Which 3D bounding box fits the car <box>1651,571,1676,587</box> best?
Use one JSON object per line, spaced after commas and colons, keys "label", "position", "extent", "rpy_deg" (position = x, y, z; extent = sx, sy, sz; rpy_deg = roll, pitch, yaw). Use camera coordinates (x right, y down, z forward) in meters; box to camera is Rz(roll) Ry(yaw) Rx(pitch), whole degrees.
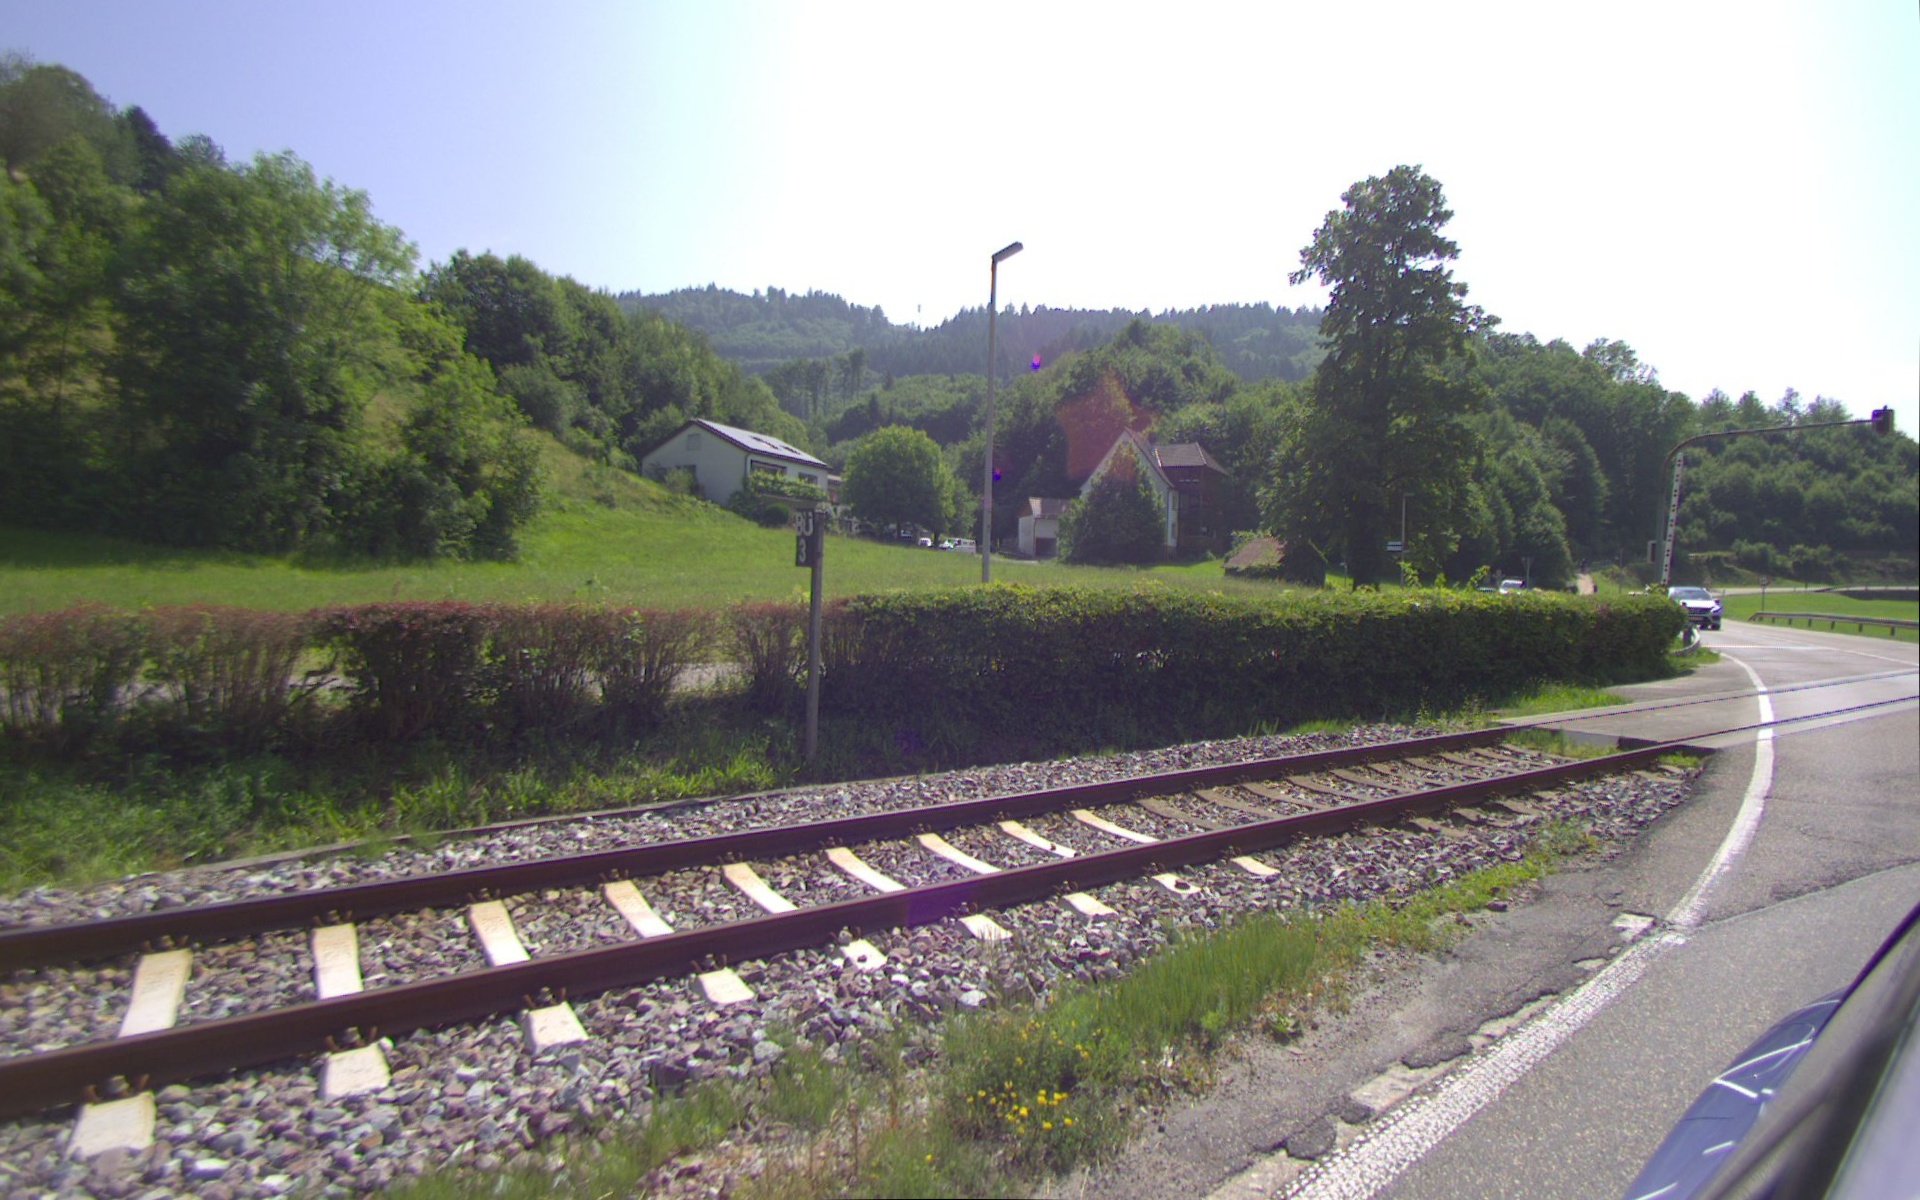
{"label": "car", "position": [85.212, -2.514, 122.557], "extent": [1.992, 1.806, 3.941], "rpy_deg": [3, 3, 41]}

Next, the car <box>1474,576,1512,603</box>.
{"label": "car", "position": [35.375, -0.727, 67.248], "extent": [1.659, 1.474, 3.692], "rpy_deg": [4, 4, 21]}

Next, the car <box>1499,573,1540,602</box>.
{"label": "car", "position": [40.816, -0.925, 73.763], "extent": [1.994, 1.869, 4.808], "rpy_deg": [8, 6, 34]}

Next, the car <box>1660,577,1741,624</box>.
{"label": "car", "position": [32.059, -0.031, 43.958], "extent": [2.100, 1.836, 4.413], "rpy_deg": [2, 3, 28]}

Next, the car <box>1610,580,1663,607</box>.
{"label": "car", "position": [42.772, -0.447, 64.054], "extent": [2.127, 1.508, 4.630], "rpy_deg": [3, 3, 26]}

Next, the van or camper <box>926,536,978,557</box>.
{"label": "van or camper", "position": [-0.793, -5.429, 103.597], "extent": [2.800, 1.973, 5.370], "rpy_deg": [3, 3, 34]}
